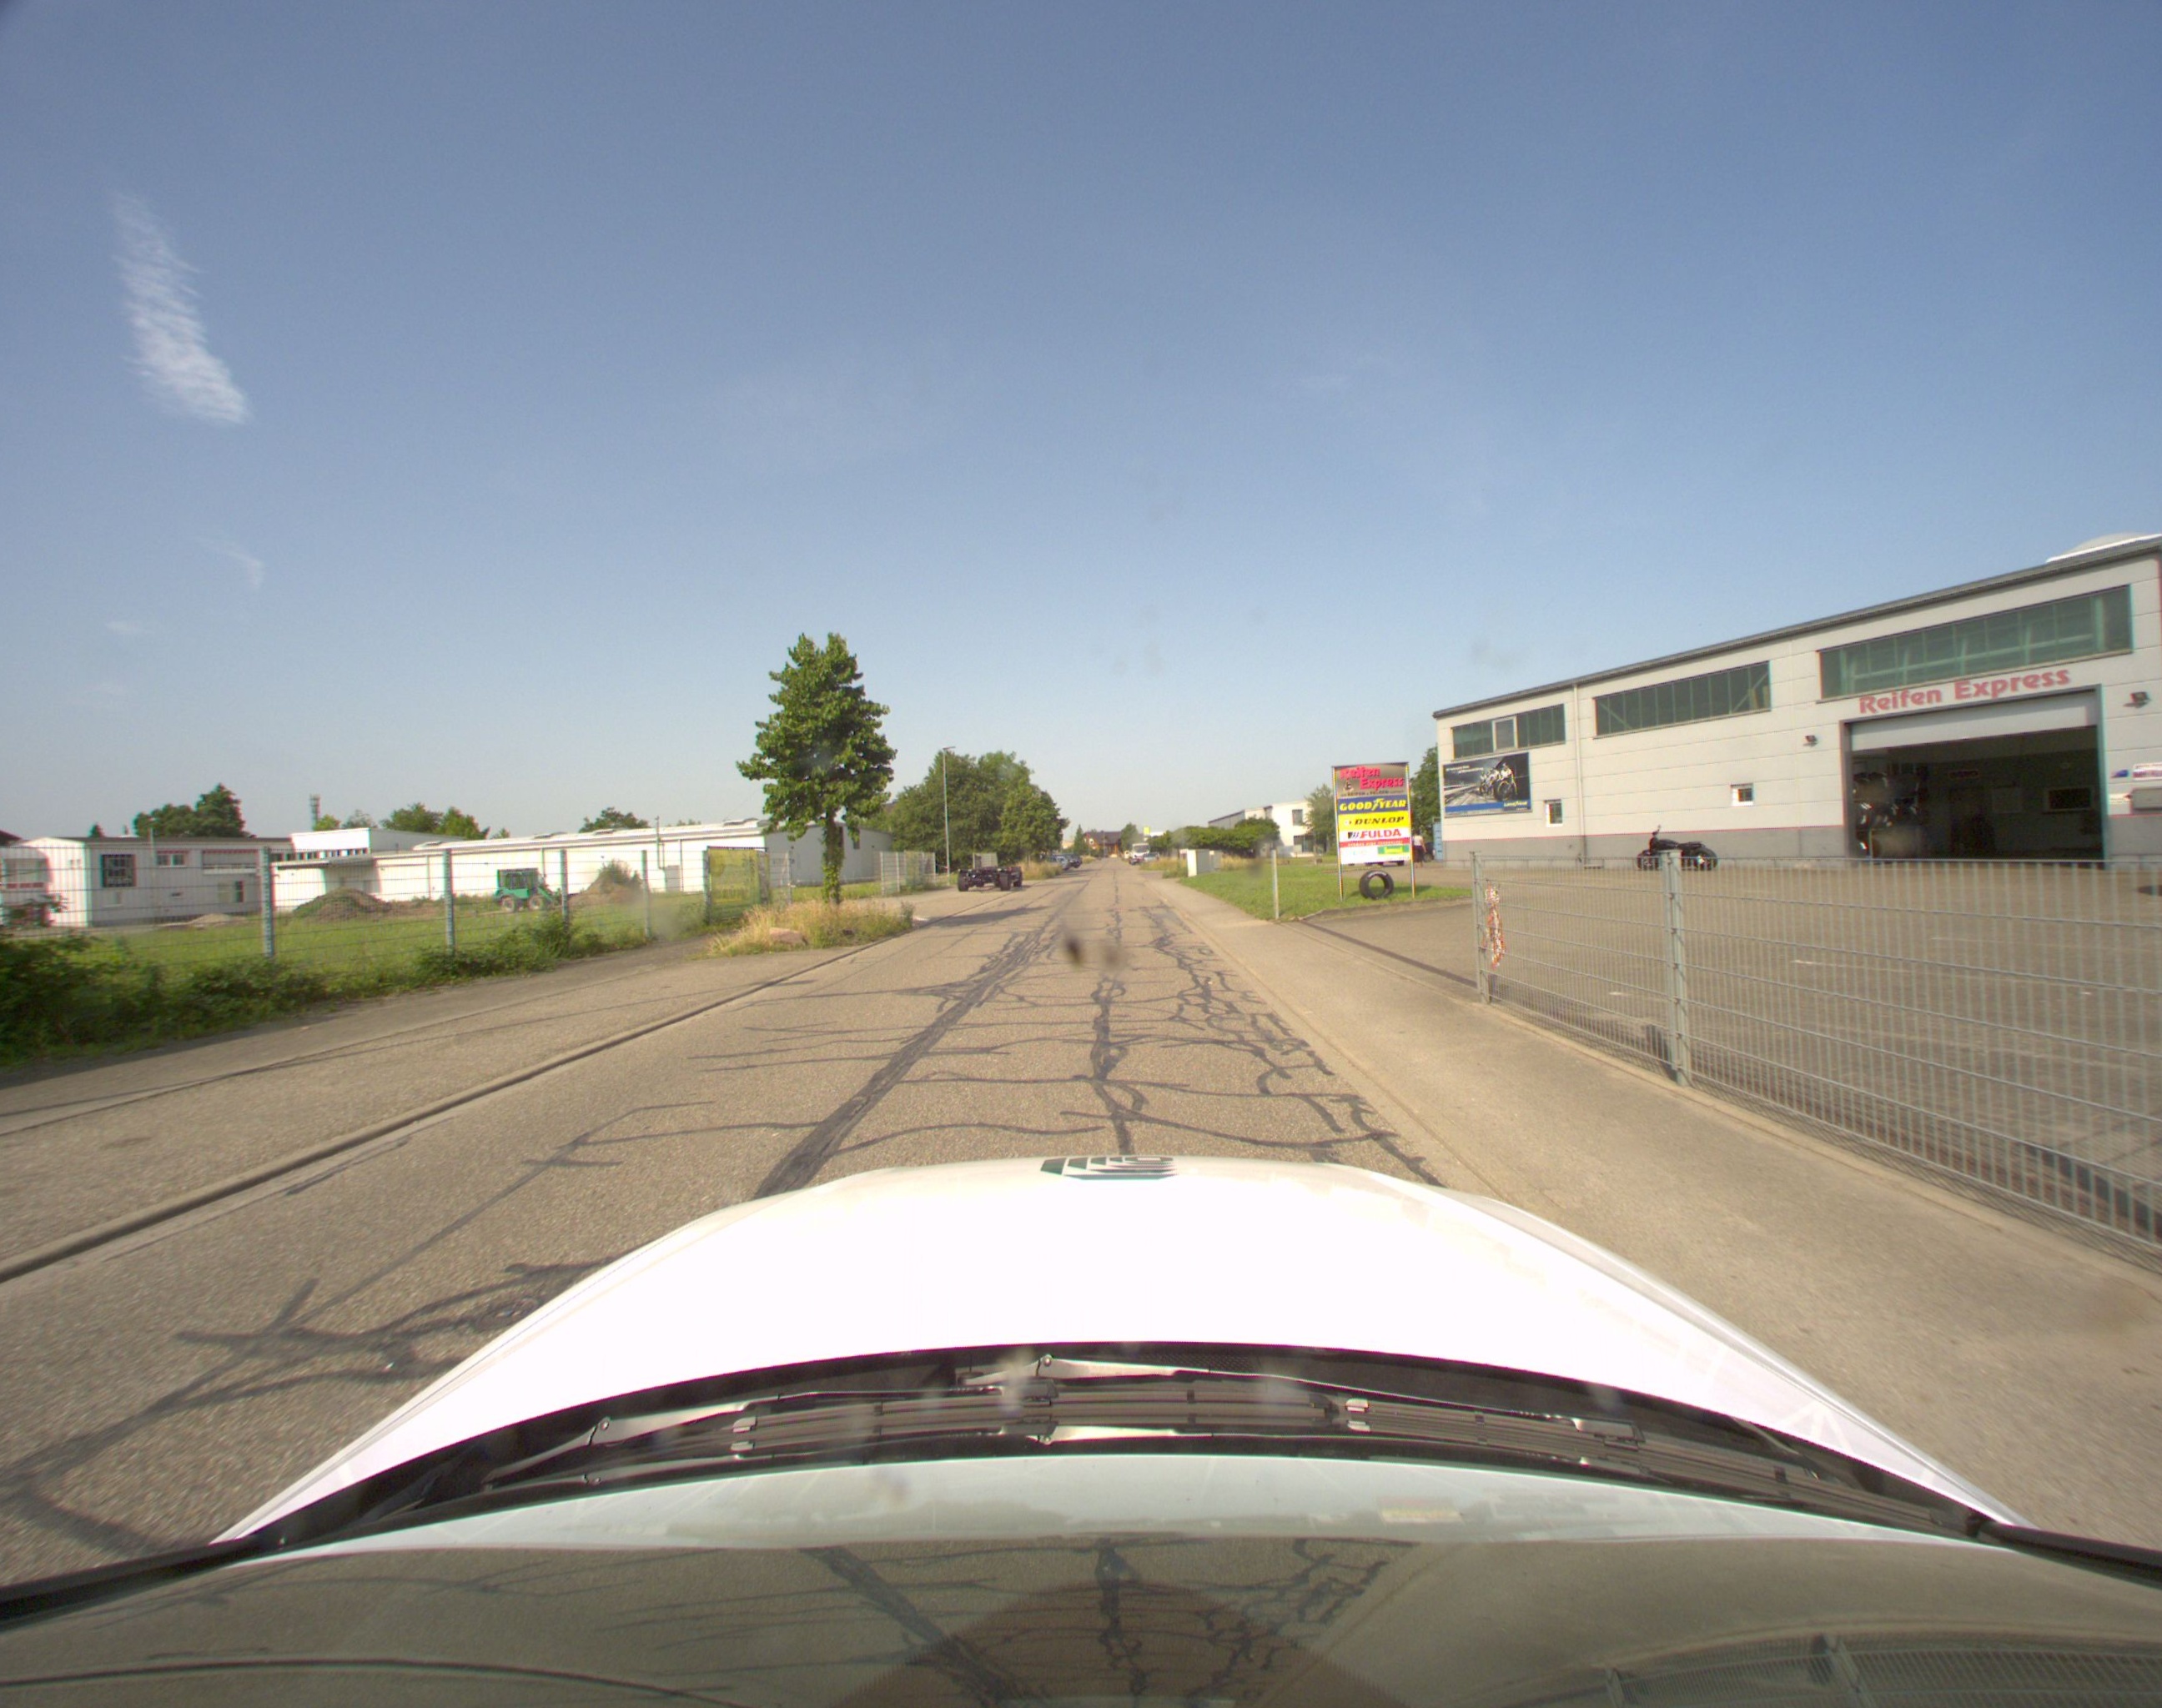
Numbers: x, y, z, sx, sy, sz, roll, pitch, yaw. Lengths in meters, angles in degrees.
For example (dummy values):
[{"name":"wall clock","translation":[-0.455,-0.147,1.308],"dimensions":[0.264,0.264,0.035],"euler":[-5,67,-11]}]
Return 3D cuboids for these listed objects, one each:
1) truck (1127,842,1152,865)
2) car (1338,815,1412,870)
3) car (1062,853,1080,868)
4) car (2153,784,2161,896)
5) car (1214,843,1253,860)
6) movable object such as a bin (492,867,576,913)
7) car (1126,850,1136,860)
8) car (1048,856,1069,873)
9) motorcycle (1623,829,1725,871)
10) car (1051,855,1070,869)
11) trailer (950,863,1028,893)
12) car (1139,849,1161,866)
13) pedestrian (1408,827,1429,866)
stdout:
[{"name":"truck","translation":[7.245,-0.089,101.133],"dimensions":[2.352,2.681,6.507],"euler":[-3,0,-1]},{"name":"car","translation":[15.906,-0.608,44.449],"dimensions":[1.967,2.705,5.883],"euler":[-3,0,2]},{"name":"car","translation":[-1.205,0.748,102.309],"dimensions":[1.848,1.714,4.230],"euler":[-4,0,3]},{"name":"car","translation":[16.462,-0.259,9.913],"dimensions":[1.639,1.568,3.781],"euler":[-3,0,-19]},{"name":"car","translation":[16.694,-0.284,89.165],"dimensions":[4.559,1.589,1.667],"euler":[-3,0,-42]},{"name":"movable object such as a bin","translation":[-32.451,2.126,48.336],"dimensions":[4.251,2.456,2.266],"euler":[-3,0,28]},{"name":"car","translation":[9.950,0.225,163.137],"dimensions":[1.830,1.924,3.758],"euler":[-4,0,2]},{"name":"car","translation":[-2.170,0.995,78.925],"dimensions":[1.559,1.538,3.693],"euler":[-3,0,5]},{"name":"motorcycle","translation":[16.461,-0.093,22.681],"dimensions":[0.804,1.094,2.186],"euler":[-3,0,-22]},{"name":"car","translation":[-2.192,0.825,88.098],"dimensions":[1.677,1.469,4.256],"euler":[-1,0,2]},{"name":"trailer","translation":[-4.419,1.127,41.150],"dimensions":[2.572,1.184,9.367],"euler":[-1,0,2]},{"name":"car","translation":[6.551,0.329,77.344],"dimensions":[1.787,1.517,4.426],"euler":[-3,0,2]},{"name":"pedestrian","translation":[14.705,-0.327,35.450],"dimensions":[0.696,1.640,0.753],"euler":[-3,0,28]}]
